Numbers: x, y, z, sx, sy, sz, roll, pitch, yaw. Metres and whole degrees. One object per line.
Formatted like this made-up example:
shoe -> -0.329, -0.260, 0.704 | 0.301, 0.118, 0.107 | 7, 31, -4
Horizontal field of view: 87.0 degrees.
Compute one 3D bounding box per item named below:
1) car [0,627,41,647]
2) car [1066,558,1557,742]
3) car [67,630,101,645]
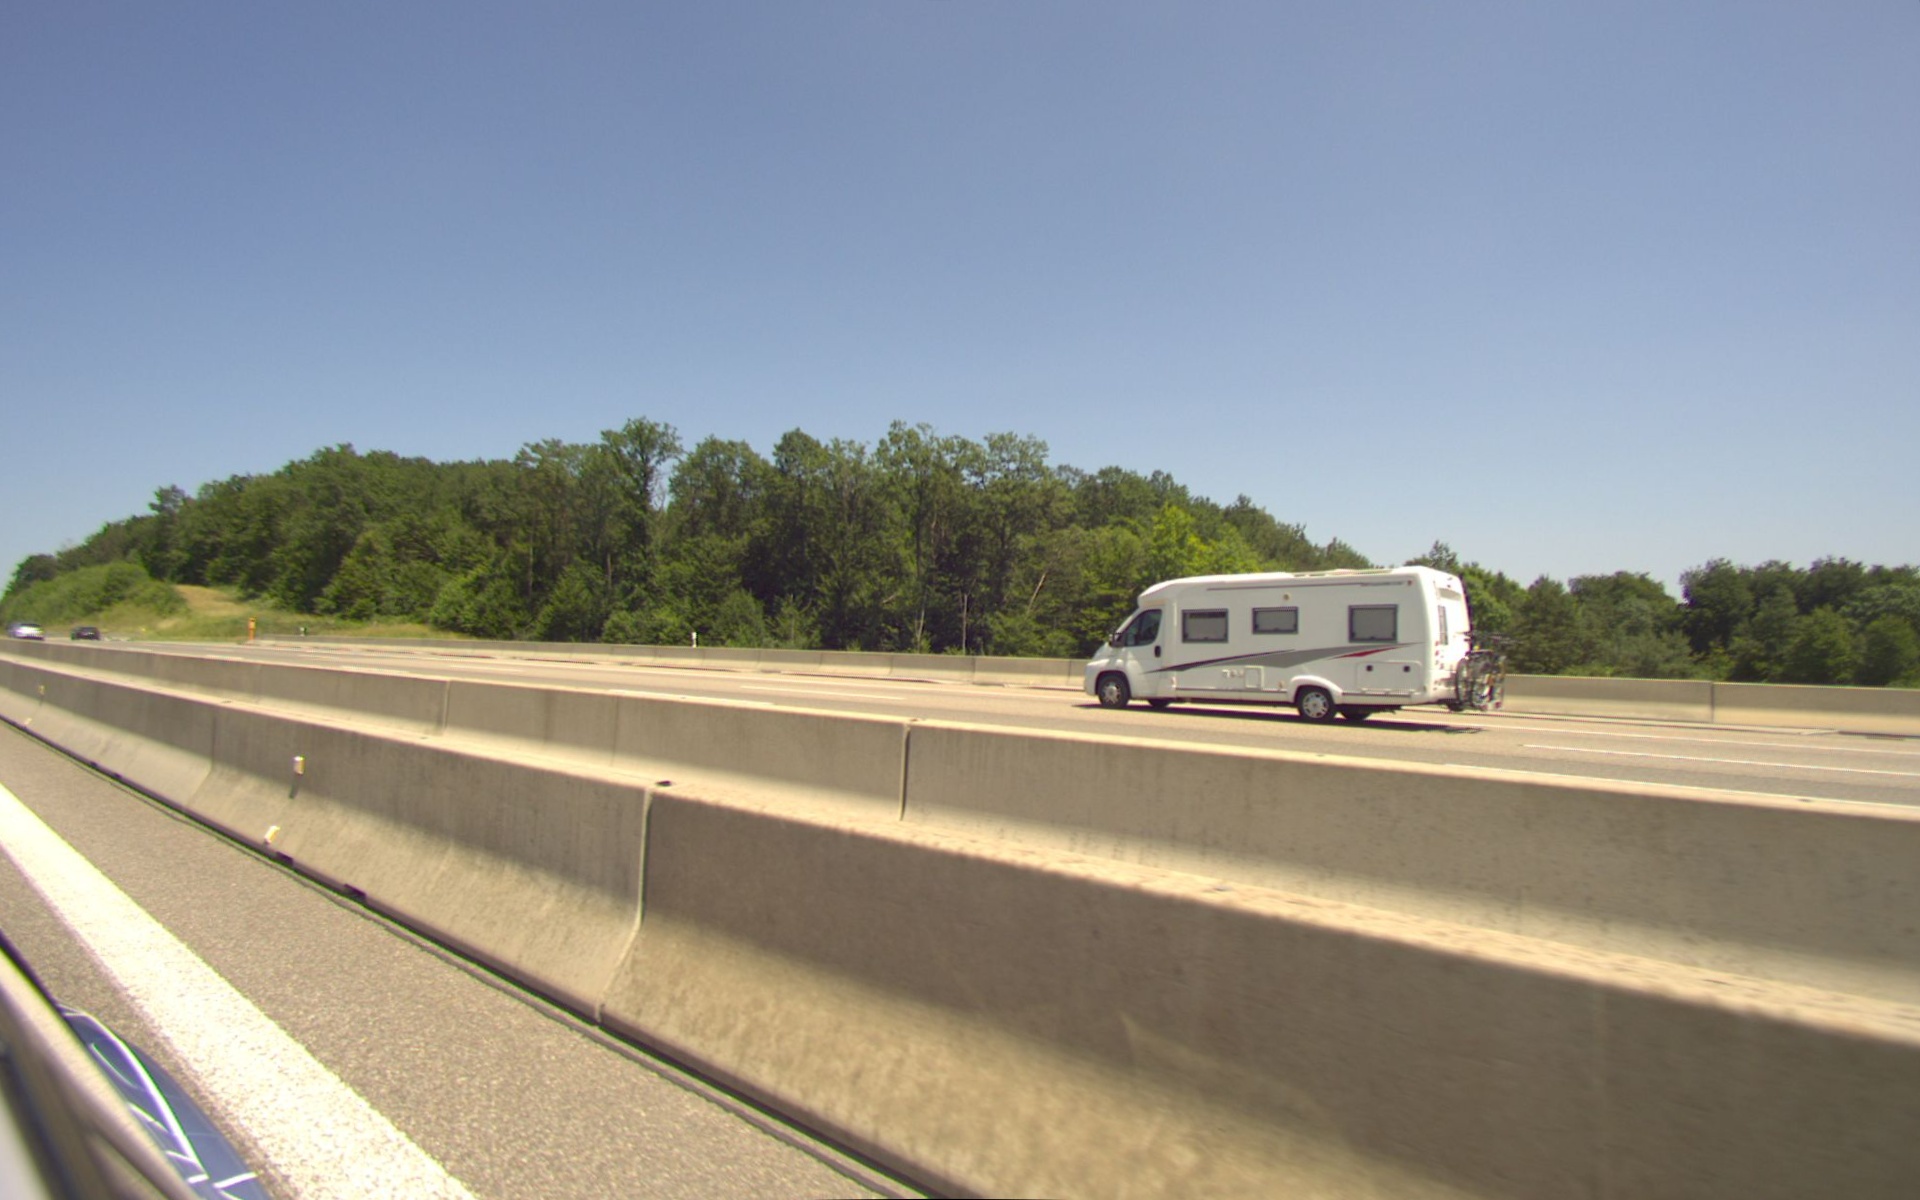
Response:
car -> -70.933, 2.797, 76.393 | 3.997, 1.452, 1.820 | -1, -2, 40
car -> 5.907, 0.846, 18.323 | 8.171, 2.679, 2.198 | -1, -4, 41
car -> -87.588, 3.716, 101.170 | 4.760, 1.452, 1.820 | -1, -4, 40
